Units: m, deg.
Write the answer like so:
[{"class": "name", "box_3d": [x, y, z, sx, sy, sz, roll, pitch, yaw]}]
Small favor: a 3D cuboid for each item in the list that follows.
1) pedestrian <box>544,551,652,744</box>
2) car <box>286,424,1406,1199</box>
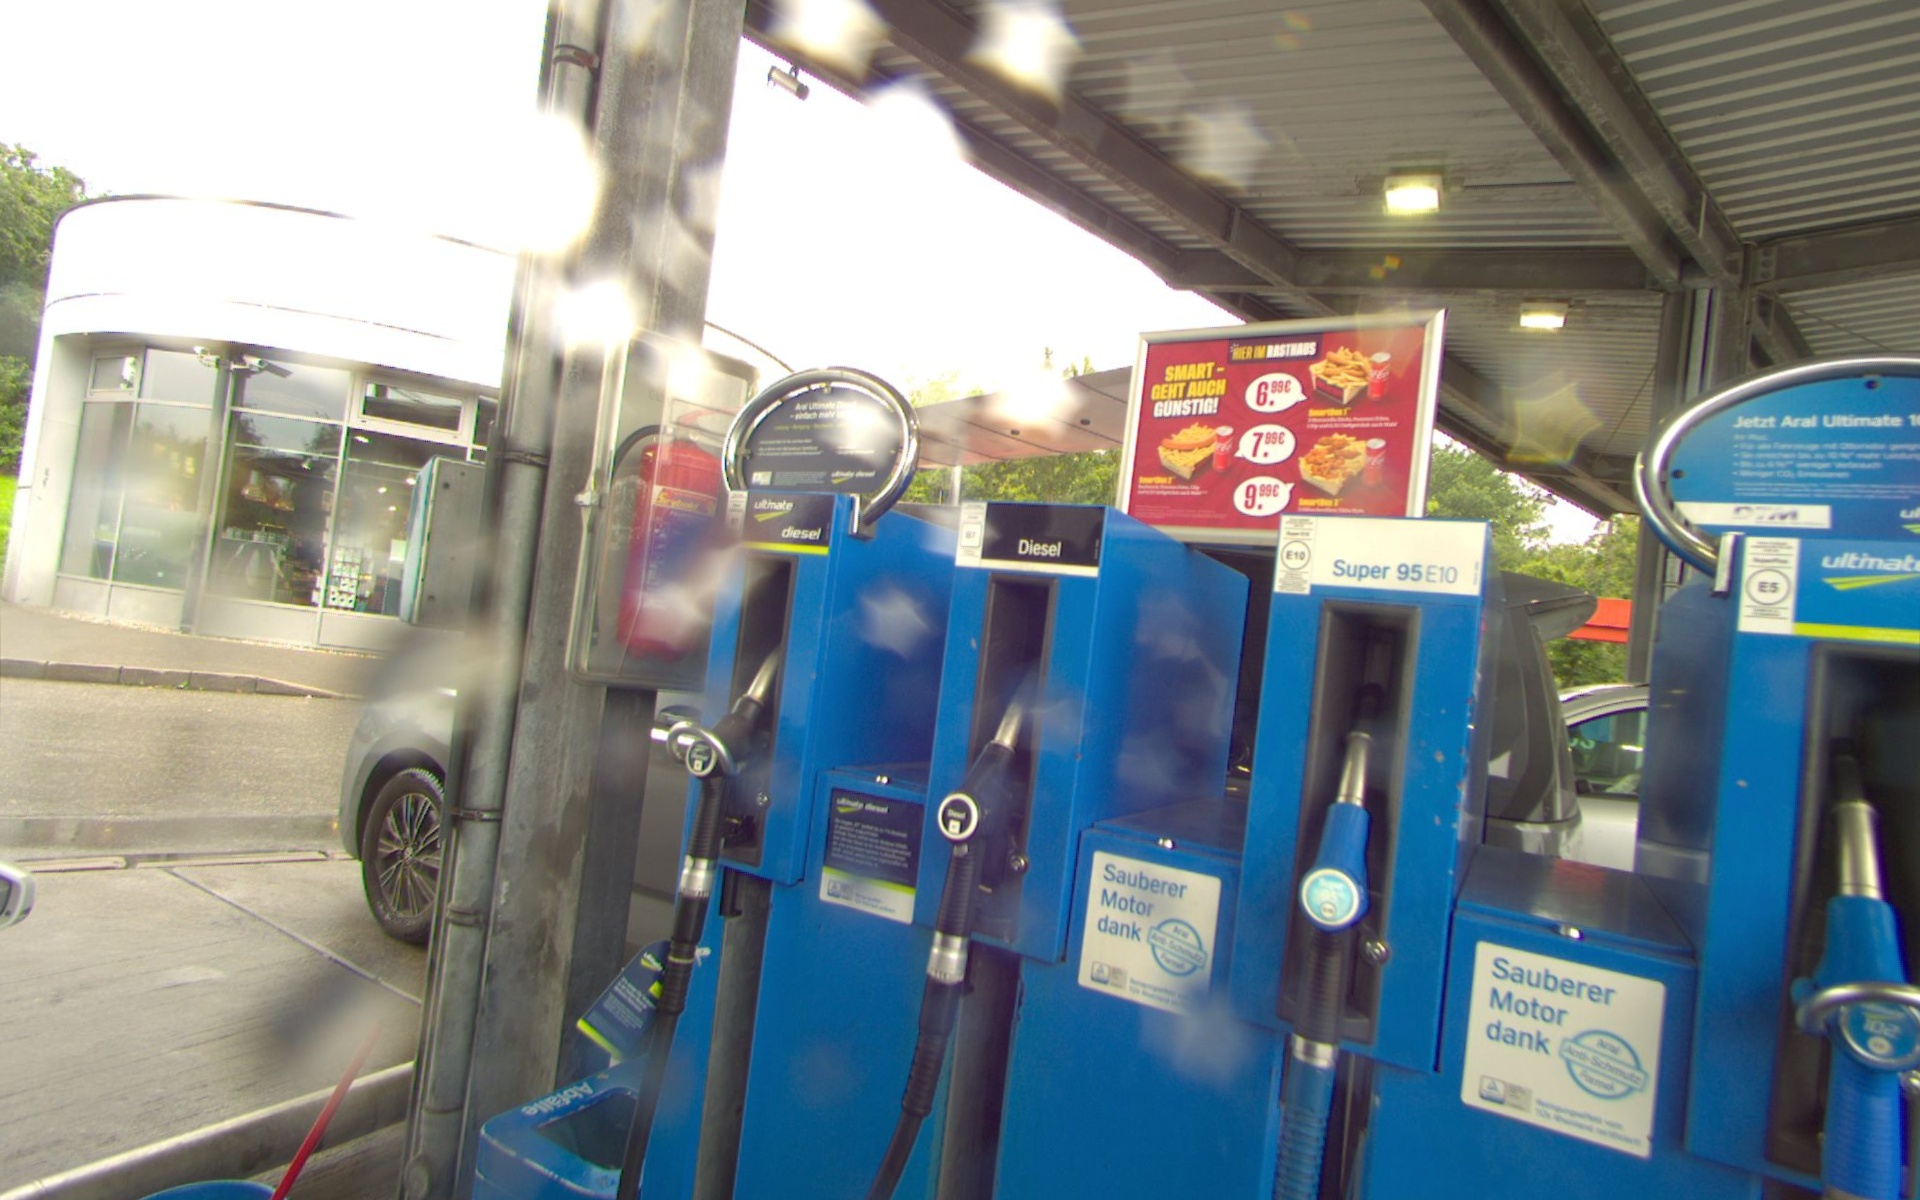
[{"class": "pedestrian", "box_3d": [-3.572, 0.454, 9.893, 0.786, 1.755, 0.835, 7, 0, -23]}, {"class": "car", "box_3d": [-0.595, 0.522, 3.984, 3.934, 1.971, 1.819, 7, -1, 32]}]
